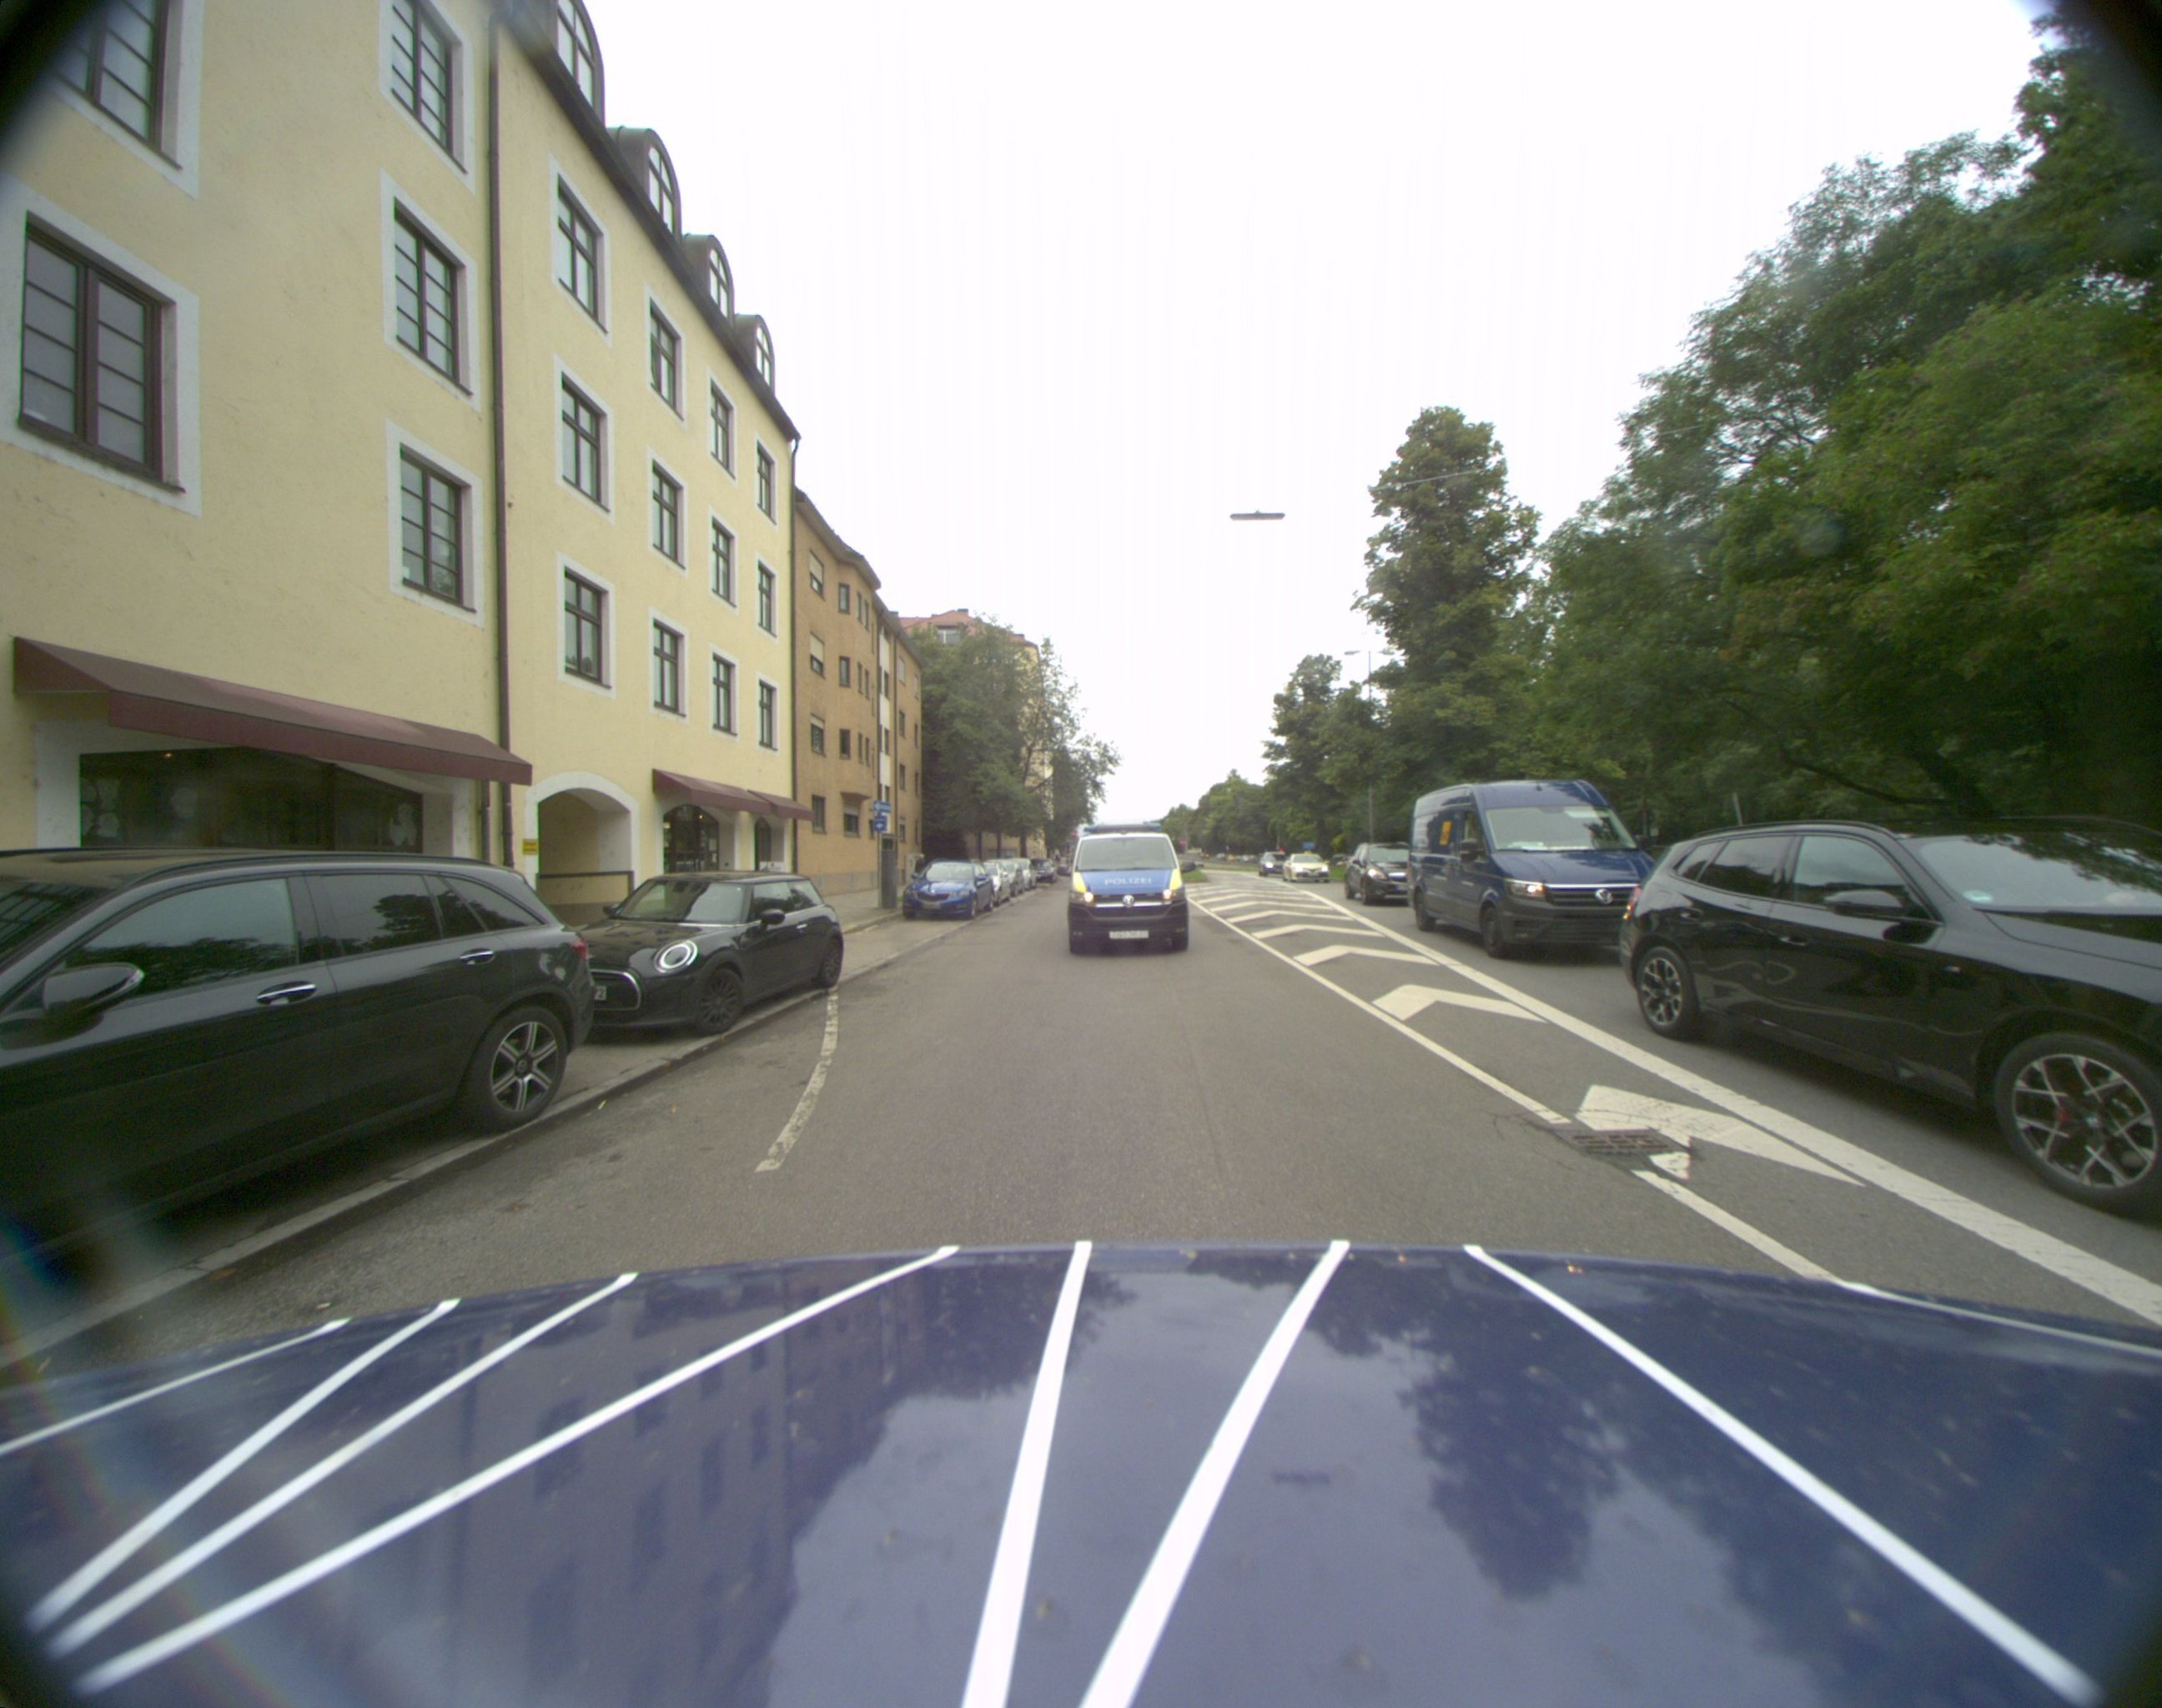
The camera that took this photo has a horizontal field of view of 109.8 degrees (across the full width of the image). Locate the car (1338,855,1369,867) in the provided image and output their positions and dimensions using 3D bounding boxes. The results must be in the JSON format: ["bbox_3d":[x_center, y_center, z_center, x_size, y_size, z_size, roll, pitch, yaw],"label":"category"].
[{"bbox_3d":[33.172,0.808,92.504,1.999,1.438,4.524,0,0,-3],"label":"car"}]

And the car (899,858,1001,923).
[{"bbox_3d":[-3.358,0.882,20.319,1.760,1.487,4.488,1,0,2],"label":"car"}]

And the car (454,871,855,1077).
[{"bbox_3d":[-3.939,0.975,7.874,1.760,1.487,3.824,1,0,5],"label":"car"}]

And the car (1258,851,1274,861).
[{"bbox_3d":[32.550,0.321,133.983,1.885,1.736,4.000,-1,0,1],"label":"car"}]

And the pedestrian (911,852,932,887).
[{"bbox_3d":[-7.423,0.709,35.406,0.672,1.614,0.980,-1,1,3],"label":"pedestrian"}]

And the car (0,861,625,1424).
[{"bbox_3d":[-4.155,0.898,2.978,1.761,1.669,4.707,1,0,2],"label":"car"}]

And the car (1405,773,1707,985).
[{"bbox_3d":[6.803,0.242,11.870,2.187,2.450,5.856,0,1,13],"label":"car"}]

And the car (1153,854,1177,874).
[{"bbox_3d":[7.054,0.786,63.523,1.902,1.556,4.773,0,0,6],"label":"car"}]

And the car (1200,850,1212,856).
[{"bbox_3d":[29.387,-0.201,178.705,1.897,1.438,4.032,0,0,-4],"label":"car"}]

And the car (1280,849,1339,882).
[{"bbox_3d":[11.361,0.534,38.156,1.991,1.556,4.656,0,0,6],"label":"car"}]

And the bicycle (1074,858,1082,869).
[{"bbox_3d":[-0.292,0.889,74.166,0.632,1.031,1.736,0,0,7],"label":"bicycle"}]

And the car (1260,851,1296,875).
[{"bbox_3d":[13.297,0.578,51.473,1.990,1.556,4.276,0,0,9],"label":"car"}]

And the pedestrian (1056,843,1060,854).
[{"bbox_3d":[-4.036,-0.969,133.060,0.458,2.002,0.617,0,0,-17],"label":"pedestrian"}]

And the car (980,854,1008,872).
[{"bbox_3d":[-7.650,0.769,67.139,2.054,1.458,4.244,0,0,-2],"label":"car"}]

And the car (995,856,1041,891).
[{"bbox_3d":[-2.850,0.858,35.208,1.631,1.487,3.821,1,0,2],"label":"car"}]

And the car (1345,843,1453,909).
[{"bbox_3d":[8.620,0.541,20.962,1.990,1.618,4.277,0,0,12],"label":"car"}]

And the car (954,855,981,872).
[{"bbox_3d":[-9.928,0.797,66.815,1.917,1.458,4.244,0,0,-2],"label":"car"}]

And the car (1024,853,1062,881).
[{"bbox_3d":[-2.183,0.731,44.384,1.796,1.488,4.376,2,0,2],"label":"car"}]

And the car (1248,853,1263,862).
[{"bbox_3d":[32.654,0.633,142.133,1.866,1.736,4.000,-1,0,1],"label":"car"}]

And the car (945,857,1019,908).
[{"bbox_3d":[-3.189,0.882,25.291,1.694,1.487,4.434,1,0,2],"label":"car"}]

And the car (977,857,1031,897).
[{"bbox_3d":[-3.041,0.876,30.569,1.631,1.487,3.787,1,0,2],"label":"car"}]

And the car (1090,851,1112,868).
[{"bbox_3d":[2.046,0.552,76.430,2.129,1.556,4.508,-2,0,2],"label":"car"}]

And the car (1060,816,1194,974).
[{"bbox_3d":[0.749,0.542,12.922,1.856,2.198,4.553,-1,1,3],"label":"car"}]

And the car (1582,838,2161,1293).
[{"bbox_3d":[5.083,0.730,4.290,1.917,1.577,4.832,-2,1,9],"label":"car"}]
